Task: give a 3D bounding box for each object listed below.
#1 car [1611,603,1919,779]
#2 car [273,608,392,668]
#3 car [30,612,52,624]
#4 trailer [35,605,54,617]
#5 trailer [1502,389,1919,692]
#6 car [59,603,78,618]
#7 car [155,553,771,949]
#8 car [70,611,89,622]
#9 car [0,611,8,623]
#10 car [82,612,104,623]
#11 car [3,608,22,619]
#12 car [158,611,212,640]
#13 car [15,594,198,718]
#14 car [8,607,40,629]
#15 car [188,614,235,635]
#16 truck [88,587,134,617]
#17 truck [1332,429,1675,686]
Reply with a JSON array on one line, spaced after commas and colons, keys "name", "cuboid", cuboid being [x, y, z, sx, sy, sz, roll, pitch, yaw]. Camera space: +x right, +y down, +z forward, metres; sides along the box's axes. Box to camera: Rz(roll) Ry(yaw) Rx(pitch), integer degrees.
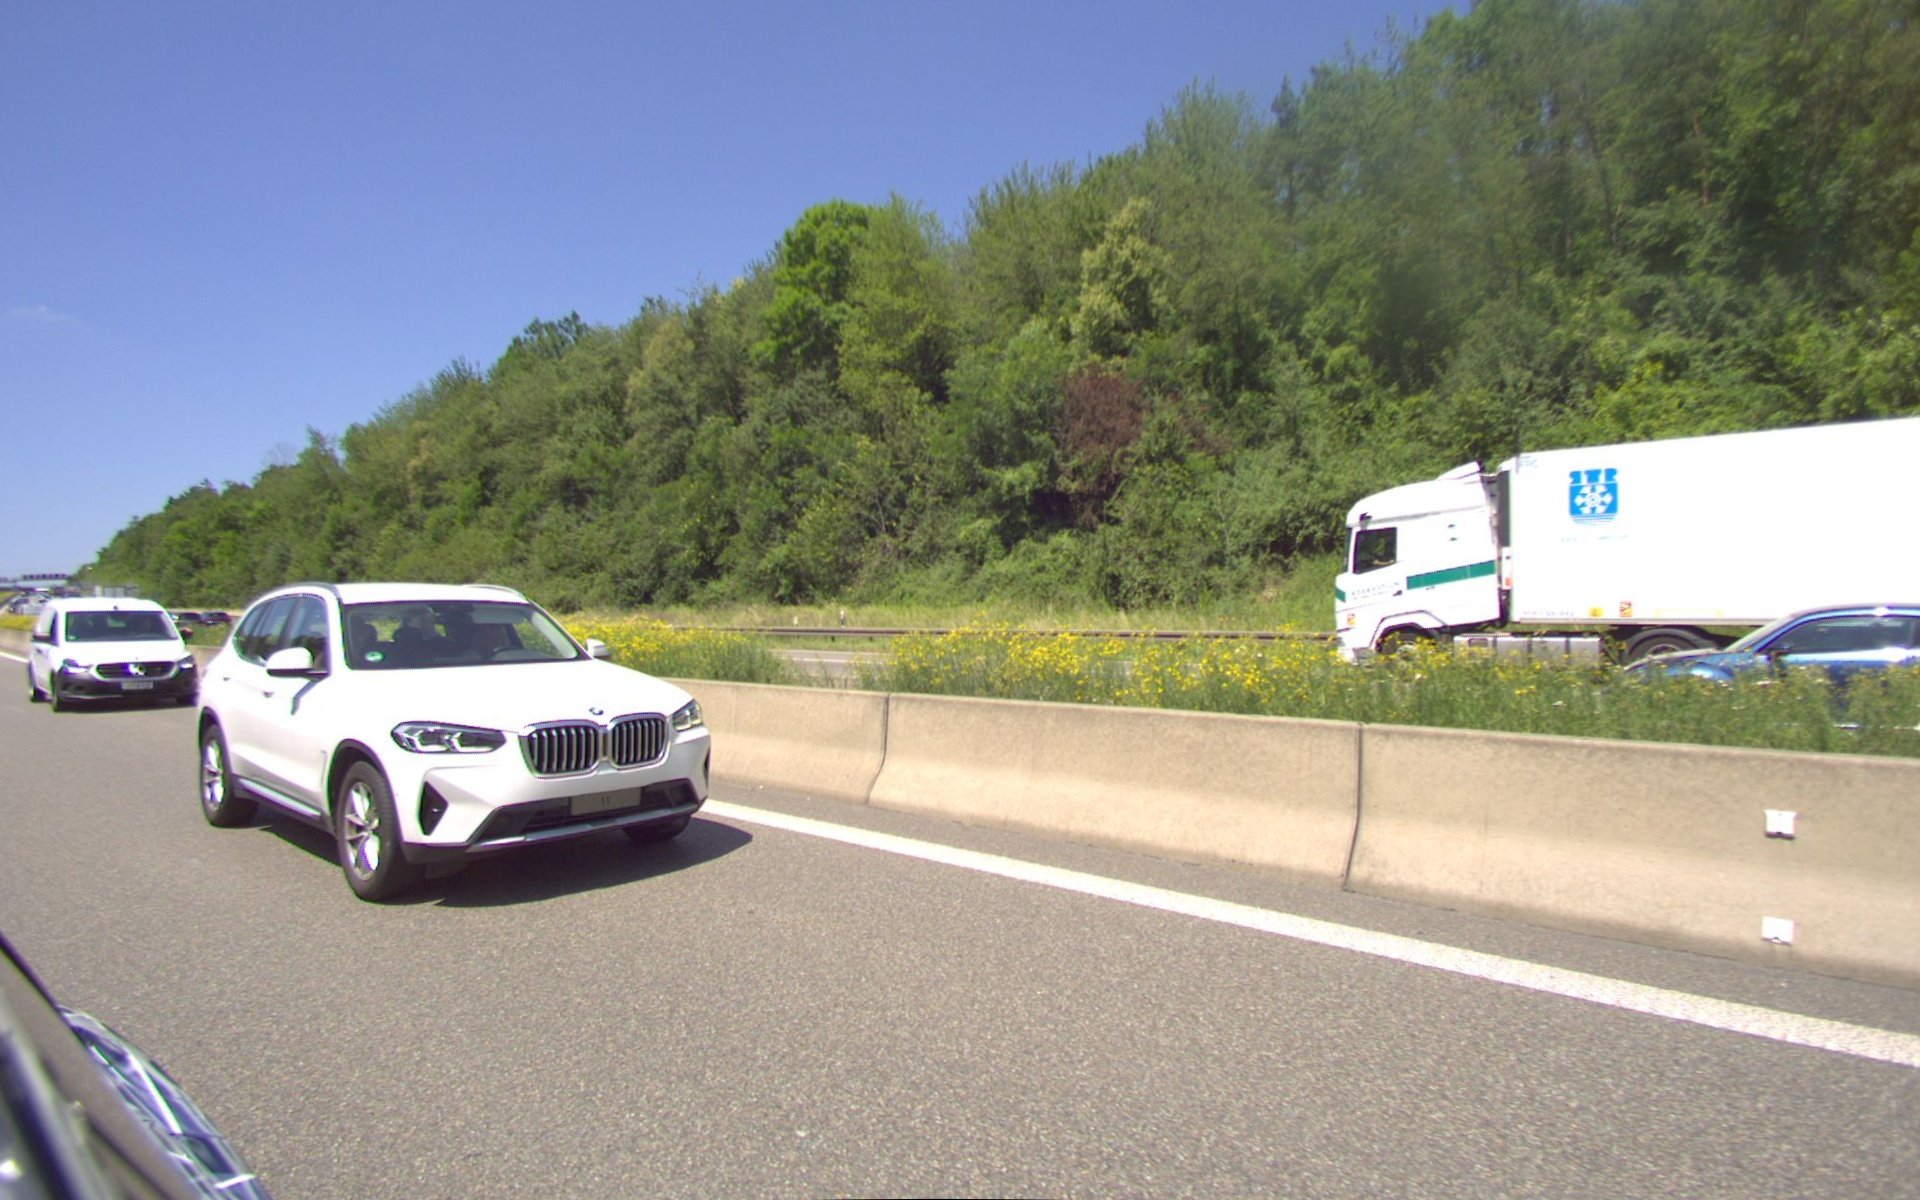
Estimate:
[{"name": "car", "cuboid": [9.031, 0.825, 10.138, 3.998, 1.584, 1.973, -1, 0, 41]}, {"name": "car", "cuboid": [-19.026, 1.129, 30.613, 4.078, 1.691, 1.973, -2, -1, 41]}, {"name": "car", "cuboid": [-111.821, 2.197, 123.187, 3.507, 1.399, 1.651, -2, -1, 42]}, {"name": "trailer", "cuboid": [-155.113, 1.871, 171.465, 4.000, 2.029, 1.972, -1, 0, 43]}, {"name": "trailer", "cuboid": [15.582, -0.846, 14.079, 13.925, 4.239, 2.687, -1, 0, 41]}, {"name": "car", "cuboid": [-146.320, 1.670, 166.106, 3.999, 2.448, 1.972, -1, 0, 42]}, {"name": "car", "cuboid": [-3.563, 0.707, 6.690, 4.952, 1.707, 1.845, -2, -1, 40]}, {"name": "car", "cuboid": [-117.715, 2.199, 135.312, 3.508, 1.399, 1.597, -2, -1, 43]}, {"name": "car", "cuboid": [-119.300, 2.075, 125.493, 3.360, 1.520, 1.581, -1, 0, 43]}, {"name": "car", "cuboid": [-108.611, 2.207, 126.824, 3.506, 1.399, 1.597, -2, -1, 41]}, {"name": "car", "cuboid": [-149.499, 2.158, 159.674, 3.999, 1.680, 1.897, -1, 0, 42]}, {"name": "car", "cuboid": [-47.708, 1.557, 62.264, 3.999, 1.741, 1.972, -1, -1, 42]}, {"name": "car", "cuboid": [-14.534, 0.873, 17.131, 4.672, 1.826, 1.746, -2, -1, 42]}, {"name": "car", "cuboid": [-91.593, 1.755, 99.014, 4.900, 2.029, 1.972, -1, 0, 43]}, {"name": "car", "cuboid": [-54.432, 1.784, 73.563, 3.999, 1.519, 1.972, -2, -2, 42]}, {"name": "truck", "cuboid": [-124.839, 0.323, 148.685, 13.795, 4.226, 3.668, -1, 0, 44]}, {"name": "truck", "cuboid": [10.047, -0.664, 18.914, 5.200, 4.120, 2.662, -1, 0, 41]}]
